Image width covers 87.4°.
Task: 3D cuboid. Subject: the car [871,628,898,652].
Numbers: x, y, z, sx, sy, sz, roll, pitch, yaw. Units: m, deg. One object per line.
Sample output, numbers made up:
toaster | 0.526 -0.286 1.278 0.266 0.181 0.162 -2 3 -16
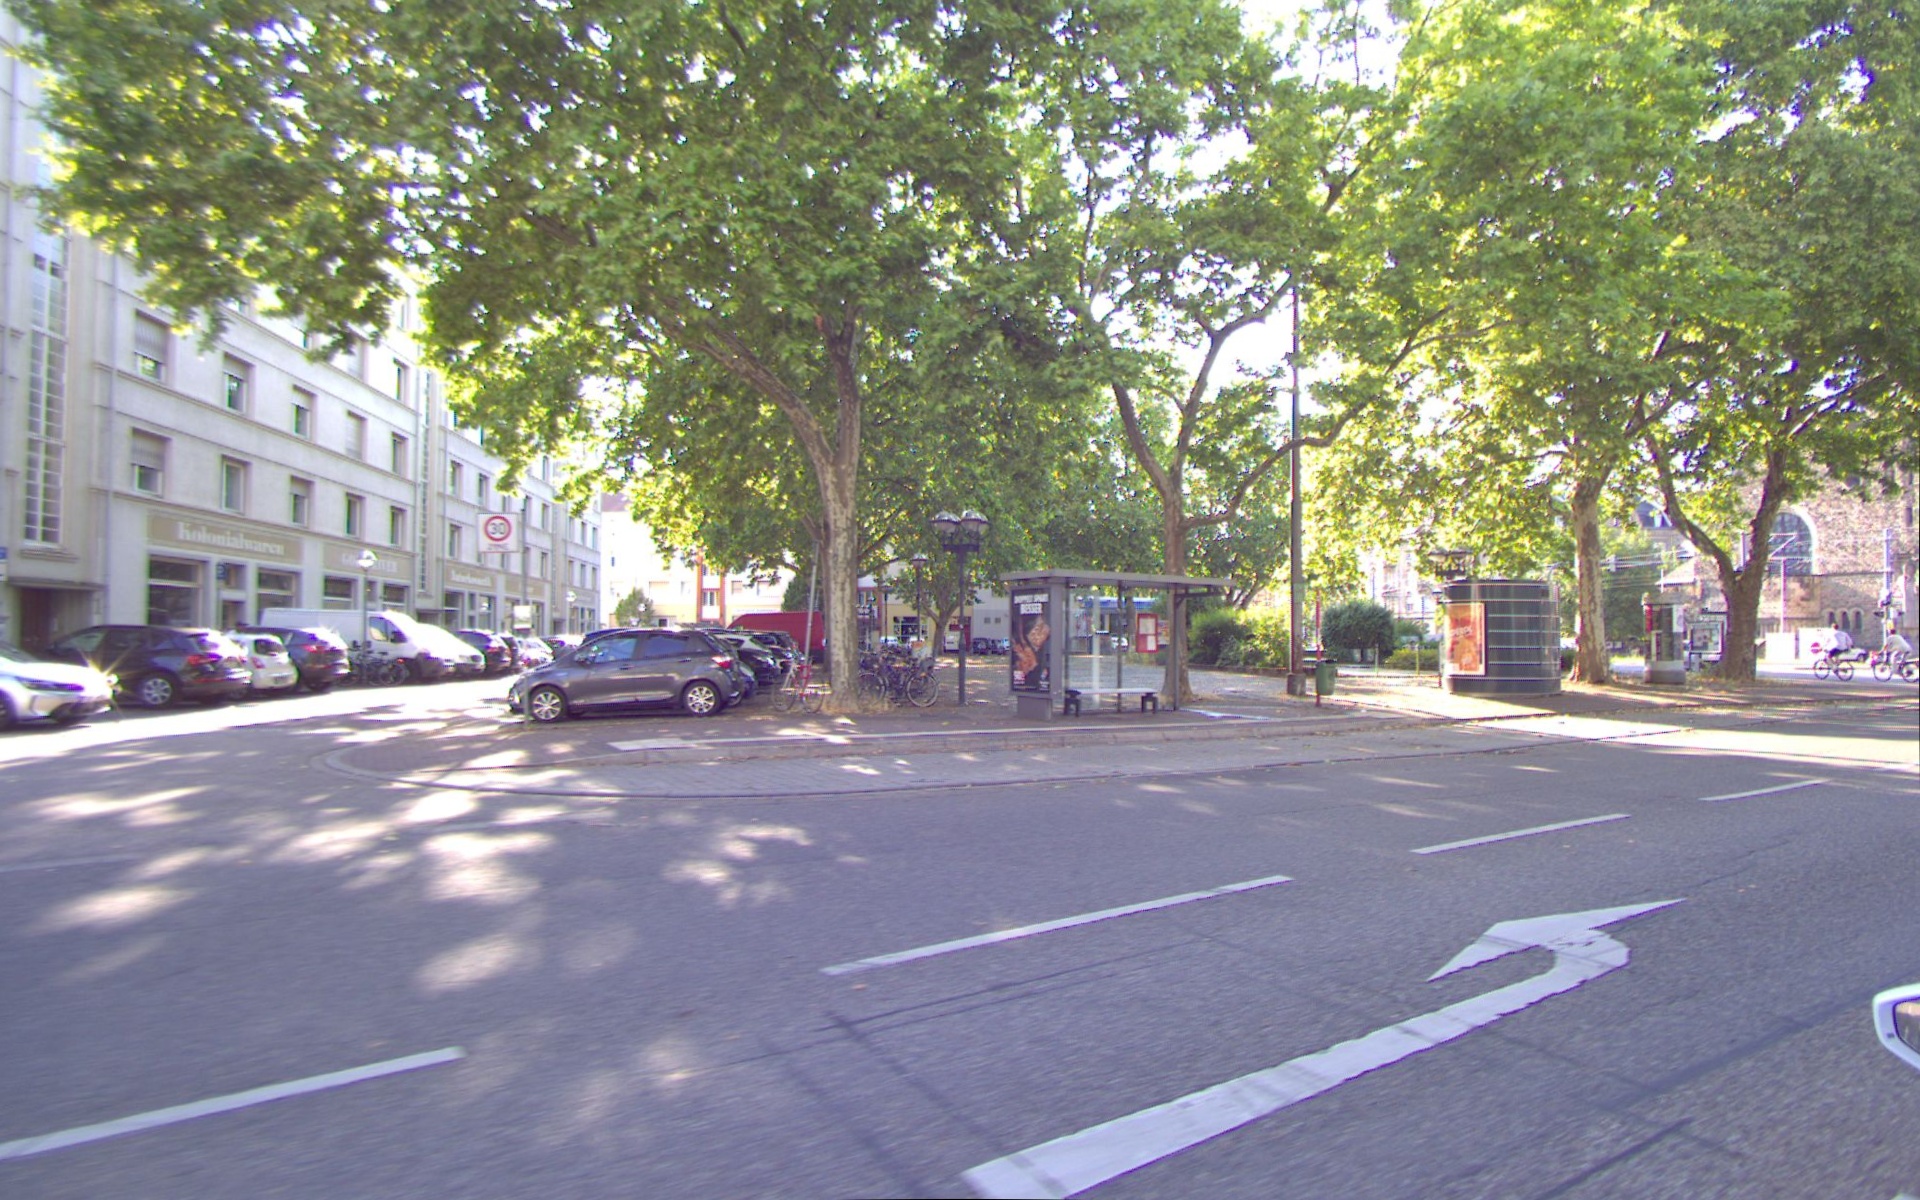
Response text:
car | -5.975 3.148 79.644 1.962 1.714 3.998 2 -1 -4

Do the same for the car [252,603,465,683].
car | -17.884 1.324 30.109 5.080 2.150 1.652 3 -3 -13

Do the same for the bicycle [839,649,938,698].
bicycle | -1.640 1.673 23.062 2.171 1.005 0.552 2 0 11

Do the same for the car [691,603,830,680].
car | -8.275 1.766 42.113 5.461 2.947 1.654 2 -3 -7

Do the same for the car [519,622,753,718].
car | -5.436 1.173 17.272 3.584 1.537 1.753 0 -2 -10

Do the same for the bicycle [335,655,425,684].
bicycle | -16.430 1.959 28.500 2.120 0.807 0.586 1 -2 -14

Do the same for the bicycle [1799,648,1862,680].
bicycle | 30.394 2.213 35.096 0.644 0.995 1.790 2 -1 1

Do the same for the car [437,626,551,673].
car | -18.809 2.000 40.677 3.813 1.742 1.652 3 -3 -12

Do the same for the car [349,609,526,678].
car | -18.059 1.528 34.960 5.080 2.163 1.652 3 -3 -13

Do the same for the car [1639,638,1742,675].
car | 36.026 2.742 49.642 1.819 1.576 3.994 2 -1 -9

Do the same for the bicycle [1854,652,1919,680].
bicycle | 31.993 2.267 34.618 0.736 0.907 1.787 0 -2 -1

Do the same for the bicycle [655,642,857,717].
bicycle | -3.395 1.333 16.942 3.251 1.161 0.715 2 -1 -29

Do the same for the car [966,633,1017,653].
car | 2.703 3.672 86.219 3.938 1.482 1.991 2 -1 -19

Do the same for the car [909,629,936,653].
car | -3.028 3.265 80.031 1.962 1.714 3.998 2 -1 -4

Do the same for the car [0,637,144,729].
car | -15.586 1.241 15.759 3.960 1.353 1.654 2 -3 -6

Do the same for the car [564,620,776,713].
car | -5.927 1.277 20.503 3.944 1.639 1.869 -1 -1 -24

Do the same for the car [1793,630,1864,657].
car | 66.215 3.289 76.621 3.925 1.862 1.865 2 0 -6

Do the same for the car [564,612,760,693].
car | -6.620 1.160 22.323 3.945 1.639 1.869 2 -1 -24

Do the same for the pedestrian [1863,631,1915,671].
pedestrian | 31.976 1.743 34.585 0.776 1.294 1.052 2 0 -1

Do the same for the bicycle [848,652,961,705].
bicycle | -1.118 1.592 20.373 2.184 1.005 0.549 2 0 -21

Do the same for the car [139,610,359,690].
car | -17.280 1.249 24.625 3.966 1.749 1.652 3 -3 -13

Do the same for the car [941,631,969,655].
car | -0.421 3.364 79.931 1.962 1.714 3.998 2 -1 -4

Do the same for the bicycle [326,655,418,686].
bicycle | -16.350 1.957 27.988 2.120 0.807 0.586 1 -2 -14

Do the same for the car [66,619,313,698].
car | -17.067 1.324 22.459 3.966 1.567 1.652 3 -3 -13

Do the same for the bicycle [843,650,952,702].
bicycle | -1.297 1.591 20.930 2.184 1.005 0.549 2 0 -21

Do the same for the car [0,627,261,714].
car | -16.589 1.396 20.011 3.960 1.531 1.654 2 -3 -6

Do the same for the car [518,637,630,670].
car | -18.308 2.537 47.840 4.707 1.378 1.652 3 -3 -13

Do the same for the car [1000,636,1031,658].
car | 4.405 3.762 80.800 1.962 1.482 3.998 2 -1 -4

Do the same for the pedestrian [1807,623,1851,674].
pedestrian | 30.411 1.689 35.170 0.616 1.730 0.994 2 0 1

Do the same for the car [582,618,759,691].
car | -7.116 1.341 24.675 3.945 1.639 1.869 2 -1 -24

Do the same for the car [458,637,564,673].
car | -19.275 2.377 43.254 3.813 1.416 1.652 3 -3 -12
